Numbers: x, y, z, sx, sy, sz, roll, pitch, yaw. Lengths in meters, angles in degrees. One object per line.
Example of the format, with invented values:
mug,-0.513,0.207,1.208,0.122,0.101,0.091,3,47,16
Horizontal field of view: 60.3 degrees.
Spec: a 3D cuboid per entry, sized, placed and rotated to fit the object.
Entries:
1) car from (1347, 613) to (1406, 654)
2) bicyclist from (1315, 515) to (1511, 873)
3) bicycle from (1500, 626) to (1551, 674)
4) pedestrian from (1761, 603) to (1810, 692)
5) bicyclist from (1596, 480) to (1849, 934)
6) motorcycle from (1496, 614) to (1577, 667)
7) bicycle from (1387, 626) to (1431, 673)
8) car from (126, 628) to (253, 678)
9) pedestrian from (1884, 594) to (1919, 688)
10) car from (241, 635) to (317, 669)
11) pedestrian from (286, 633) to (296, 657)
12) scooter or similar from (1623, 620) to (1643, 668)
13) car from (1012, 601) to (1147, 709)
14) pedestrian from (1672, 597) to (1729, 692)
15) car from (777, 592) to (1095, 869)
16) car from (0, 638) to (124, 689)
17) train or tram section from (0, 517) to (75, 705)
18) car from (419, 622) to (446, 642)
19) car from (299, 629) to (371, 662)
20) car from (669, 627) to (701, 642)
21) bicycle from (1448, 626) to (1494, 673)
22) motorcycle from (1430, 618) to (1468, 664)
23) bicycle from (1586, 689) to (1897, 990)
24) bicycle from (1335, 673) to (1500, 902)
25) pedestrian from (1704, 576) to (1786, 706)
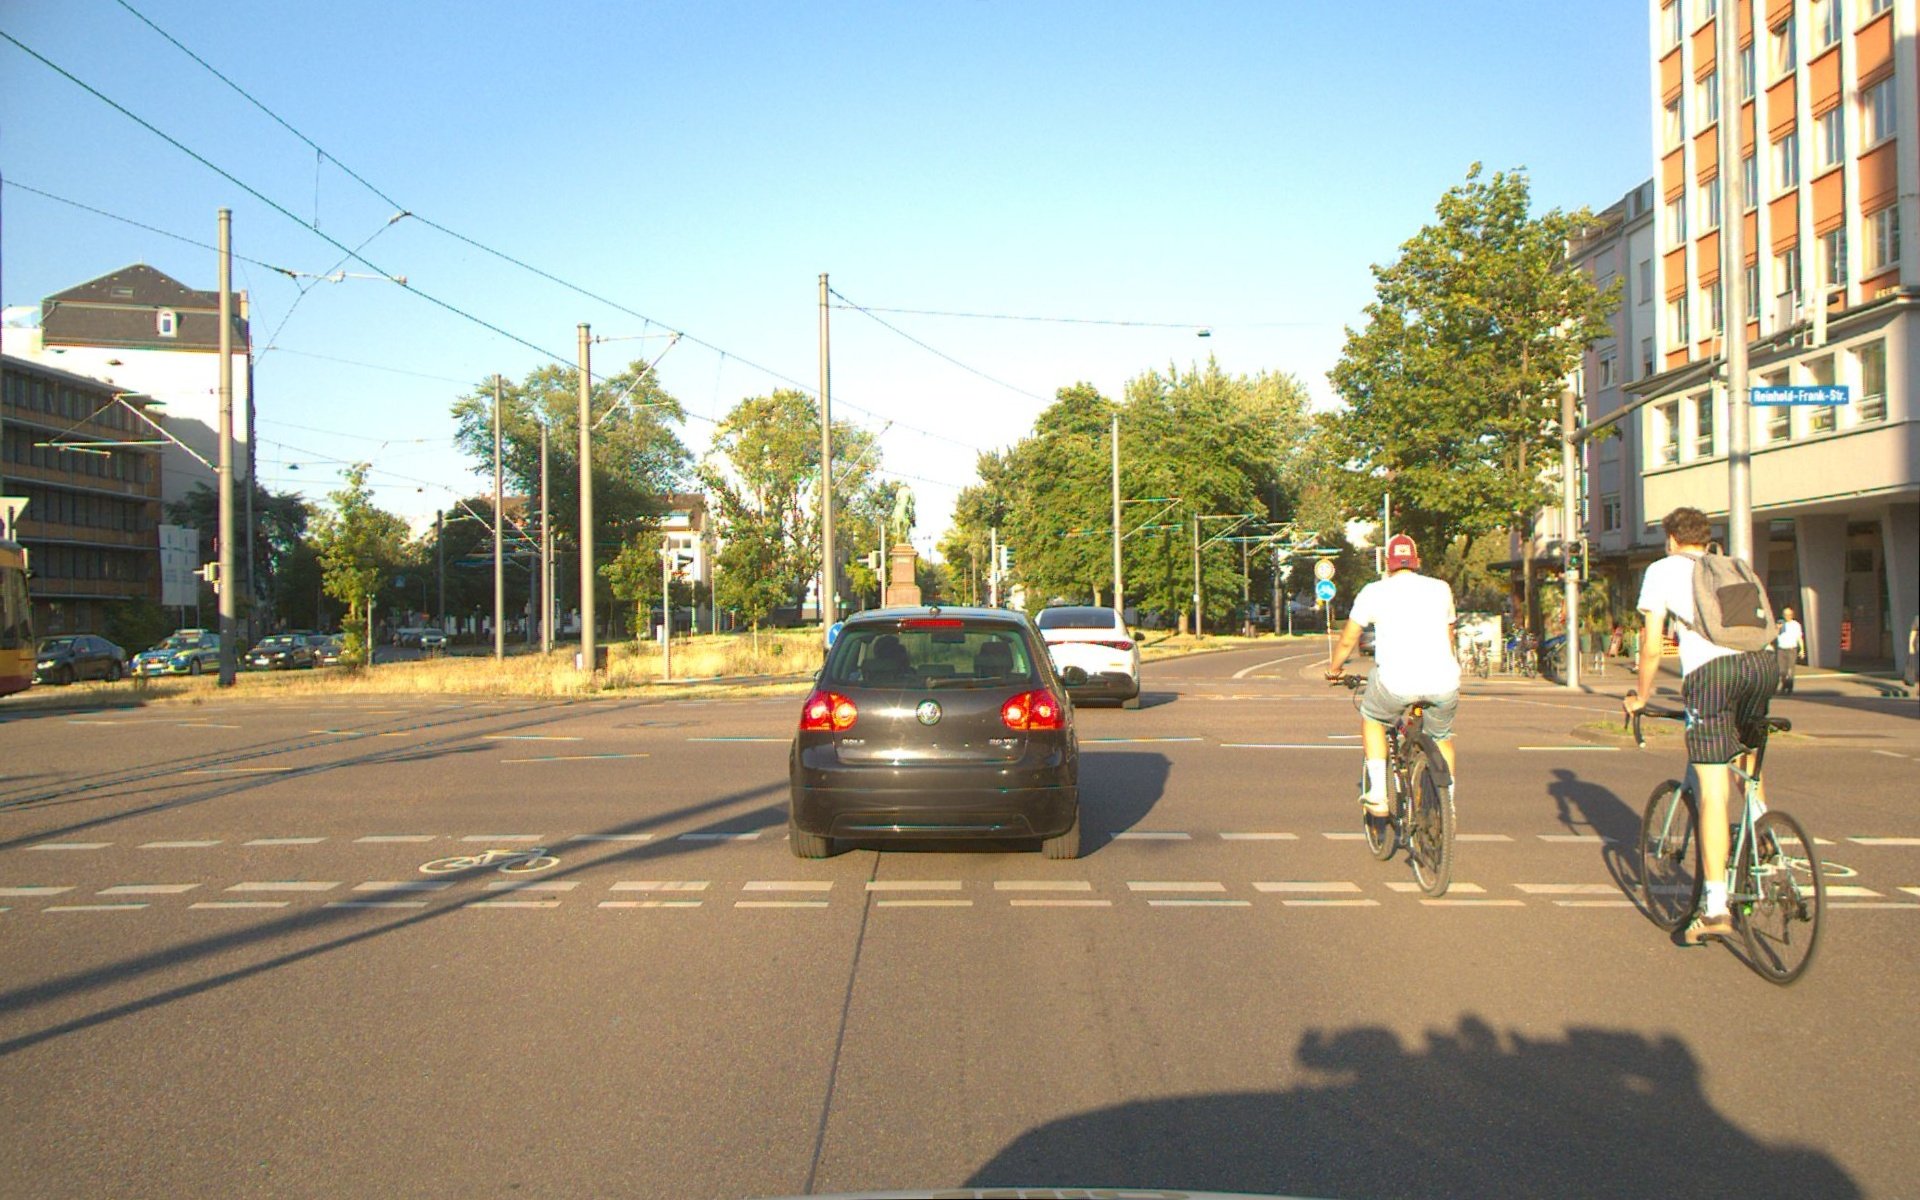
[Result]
car,16.801,1.318,66.625,1.693,1.498,3.898,-4,-2,22
bicyclist,2.454,0.490,9.082,0.809,1.839,1.058,-1,-1,3
bicycle,14.713,1.289,43.083,0.631,1.178,2.124,-1,0,1
pedestrian,16.371,0.933,32.806,0.557,1.731,0.812,-1,-1,1
bicyclist,3.291,0.439,7.226,0.660,1.839,0.994,-1,-1,3
motorcycle,16.036,1.126,46.071,2.000,1.431,0.761,-1,-1,7
bicycle,11.670,1.271,43.023,0.631,1.146,1.874,-1,0,1
car,-25.486,1.729,54.906,1.849,1.506,4.783,-1,0,2
pedestrian,18.079,0.752,31.143,0.767,1.731,1.027,-1,0,1
car,-25.778,1.966,62.723,1.489,1.174,3.597,-1,0,-2
pedestrian,-41.479,2.799,102.610,0.405,1.455,0.485,-1,-1,-1
scooter or similar,18.286,1.186,44.931,0.406,1.276,1.183,-1,-1,19
car,1.824,0.778,24.695,1.825,1.466,4.199,-1,-1,5
pedestrian,12.926,0.769,28.892,0.667,1.617,0.747,-1,-1,4
car,-0.027,0.723,10.963,1.711,1.486,4.104,0,-1,3
car,-25.495,1.766,46.897,1.689,1.305,3.788,-1,-1,-1
train or tram section,-19.729,0.204,29.187,2.717,3.598,10.567,-1,-1,-1
car,-40.953,2.460,128.441,1.741,1.508,4.291,-1,0,-15
car,-26.276,1.892,69.606,1.612,1.304,3.739,-1,0,0
car,-29.353,3.713,176.660,3.272,1.534,1.657,-1,-1,-4
bicycle,13.290,1.284,43.082,0.631,1.146,1.874,-1,0,1
motorcycle,14.215,1.177,48.123,0.652,1.264,2.202,-1,0,6
bicycle,3.303,0.956,7.178,0.563,1.046,1.857,-1,-1,4
bicycle,2.457,0.959,9.070,0.468,1.046,1.982,-1,-1,4
pedestrian,10.816,0.556,22.821,0.648,1.734,1.072,-1,0,4
